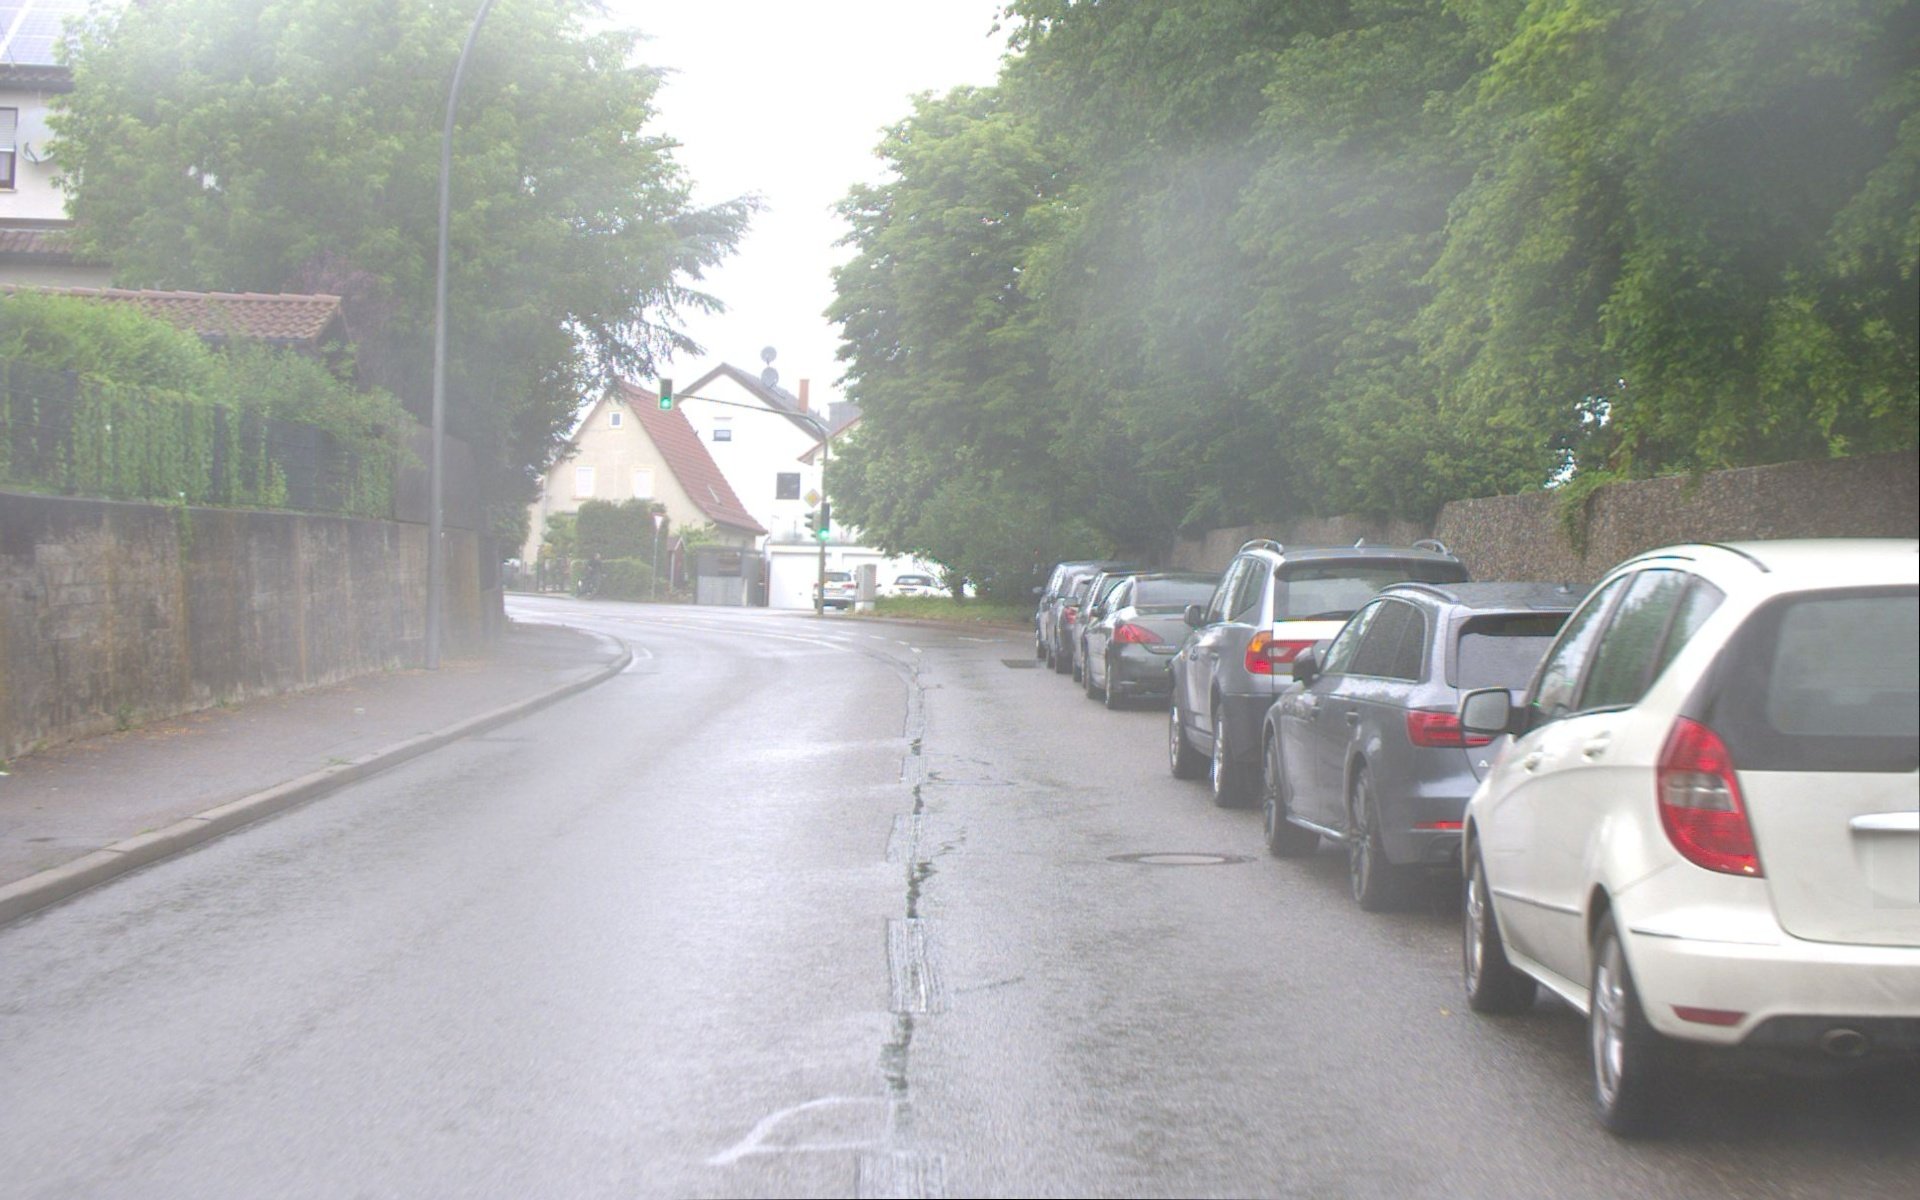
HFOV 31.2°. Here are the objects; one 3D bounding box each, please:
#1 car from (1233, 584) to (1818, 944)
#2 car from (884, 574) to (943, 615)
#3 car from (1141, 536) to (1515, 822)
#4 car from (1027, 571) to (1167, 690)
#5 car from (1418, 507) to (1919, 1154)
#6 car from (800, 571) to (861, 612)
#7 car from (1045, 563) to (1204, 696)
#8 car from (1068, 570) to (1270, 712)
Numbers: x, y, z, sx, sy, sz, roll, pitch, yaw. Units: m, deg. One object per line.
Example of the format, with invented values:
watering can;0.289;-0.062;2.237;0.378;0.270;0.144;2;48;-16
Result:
car;2.507;0.670;16.439;1.764;1.442;4.697;1;0;-3
car;-1.704;-0.226;126.668;1.907;1.437;4.000;1;1;3
car;2.306;0.466;22.667;1.742;1.662;4.498;1;0;-3
car;1.841;0.418;47.264;1.647;1.492;4.246;2;-1;-1
car;2.542;0.574;10.356;1.815;1.568;3.880;1;0;1
car;-4.768;-0.318;127.092;1.907;1.437;4.000;1;1;3
car;1.962;0.362;41.932;1.647;1.492;3.709;2;-1;-1
car;2.151;0.395;36.423;1.651;1.367;4.182;1;1;-3
